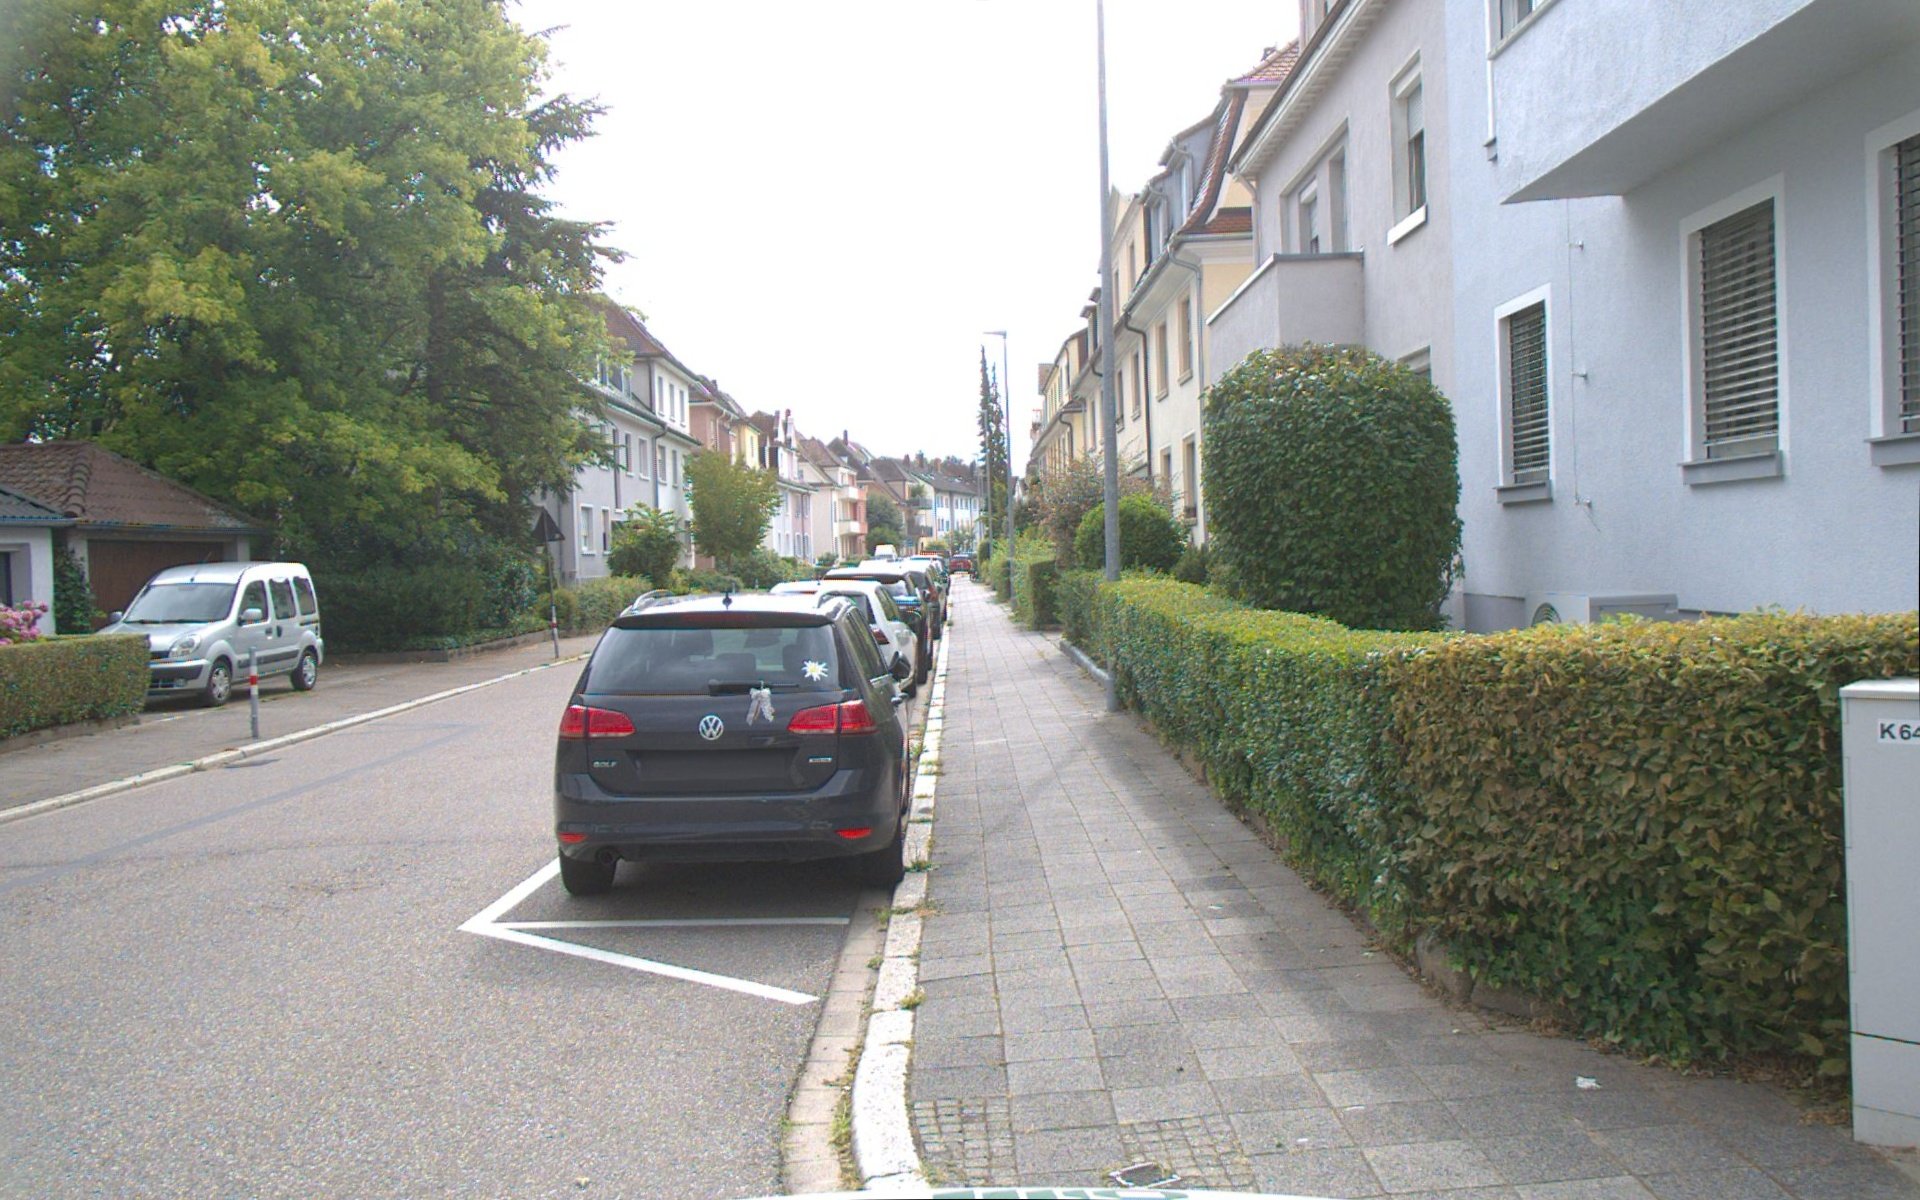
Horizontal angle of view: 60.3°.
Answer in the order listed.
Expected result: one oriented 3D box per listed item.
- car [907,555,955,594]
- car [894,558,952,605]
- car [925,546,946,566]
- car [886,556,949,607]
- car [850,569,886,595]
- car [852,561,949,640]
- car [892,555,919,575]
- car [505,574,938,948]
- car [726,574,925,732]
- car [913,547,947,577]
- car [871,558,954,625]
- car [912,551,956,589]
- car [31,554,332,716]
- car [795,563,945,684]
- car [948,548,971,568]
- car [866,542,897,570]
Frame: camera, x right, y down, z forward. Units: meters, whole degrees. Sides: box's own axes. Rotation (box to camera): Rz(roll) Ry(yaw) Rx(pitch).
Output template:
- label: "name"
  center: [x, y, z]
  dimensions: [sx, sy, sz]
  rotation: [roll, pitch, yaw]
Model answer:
- label: "car"
  center: [-1.214, -1.098, 70.243]
  dimensions: [1.815, 1.497, 4.176]
  rotation: [-2, 2, 1]
- label: "car"
  center: [-1.262, -0.680, 57.871]
  dimensions: [1.815, 1.497, 4.176]
  rotation: [-2, 2, 1]
- label: "car"
  center: [-2.791, -4.993, 187.734]
  dimensions: [1.952, 2.160, 4.003]
  rotation: [-2, 2, 3]
- label: "car"
  center: [-1.333, -0.630, 53.518]
  dimensions: [1.815, 1.497, 4.176]
  rotation: [-2, 2, 1]
- label: "car"
  center: [-6.376, -1.244, 115.043]
  dimensions: [1.952, 1.668, 4.003]
  rotation: [-2, 2, 3]
- label: "car"
  center: [-1.230, -0.036, 35.764]
  dimensions: [1.815, 1.497, 4.176]
  rotation: [-2, 2, 1]
- label: "car"
  center: [-4.697, -3.042, 143.763]
  dimensions: [1.952, 1.668, 4.002]
  rotation: [-2, 2, 3]
- label: "car"
  center: [-1.153, 0.667, 9.303]
  dimensions: [1.817, 1.497, 4.173]
  rotation: [-2, 2, -3]
- label: "car"
  center: [-1.429, 0.519, 19.119]
  dimensions: [1.815, 1.497, 4.176]
  rotation: [-2, 2, 1]
- label: "car"
  center: [-1.682, -2.170, 94.749]
  dimensions: [1.816, 1.605, 4.176]
  rotation: [-2, 2, 0]
- label: "car"
  center: [-1.134, -0.250, 41.357]
  dimensions: [1.815, 1.497, 4.176]
  rotation: [-2, 2, 1]
- label: "car"
  center: [-1.162, -1.396, 75.853]
  dimensions: [1.815, 1.605, 4.176]
  rotation: [-2, 2, 1]
- label: "car"
  center: [-10.151, 0.363, 21.952]
  dimensions: [1.952, 1.869, 4.001]
  rotation: [-2, 2, 1]
- label: "car"
  center: [-1.219, 0.268, 24.160]
  dimensions: [1.815, 1.497, 4.176]
  rotation: [-2, 2, 1]
- label: "car"
  center: [-0.041, -3.619, 141.191]
  dimensions: [1.815, 1.605, 4.176]
  rotation: [-2, 2, 1]
- label: "car"
  center: [-6.042, -3.407, 127.177]
  dimensions: [1.952, 2.048, 4.002]
  rotation: [-2, 2, 2]
